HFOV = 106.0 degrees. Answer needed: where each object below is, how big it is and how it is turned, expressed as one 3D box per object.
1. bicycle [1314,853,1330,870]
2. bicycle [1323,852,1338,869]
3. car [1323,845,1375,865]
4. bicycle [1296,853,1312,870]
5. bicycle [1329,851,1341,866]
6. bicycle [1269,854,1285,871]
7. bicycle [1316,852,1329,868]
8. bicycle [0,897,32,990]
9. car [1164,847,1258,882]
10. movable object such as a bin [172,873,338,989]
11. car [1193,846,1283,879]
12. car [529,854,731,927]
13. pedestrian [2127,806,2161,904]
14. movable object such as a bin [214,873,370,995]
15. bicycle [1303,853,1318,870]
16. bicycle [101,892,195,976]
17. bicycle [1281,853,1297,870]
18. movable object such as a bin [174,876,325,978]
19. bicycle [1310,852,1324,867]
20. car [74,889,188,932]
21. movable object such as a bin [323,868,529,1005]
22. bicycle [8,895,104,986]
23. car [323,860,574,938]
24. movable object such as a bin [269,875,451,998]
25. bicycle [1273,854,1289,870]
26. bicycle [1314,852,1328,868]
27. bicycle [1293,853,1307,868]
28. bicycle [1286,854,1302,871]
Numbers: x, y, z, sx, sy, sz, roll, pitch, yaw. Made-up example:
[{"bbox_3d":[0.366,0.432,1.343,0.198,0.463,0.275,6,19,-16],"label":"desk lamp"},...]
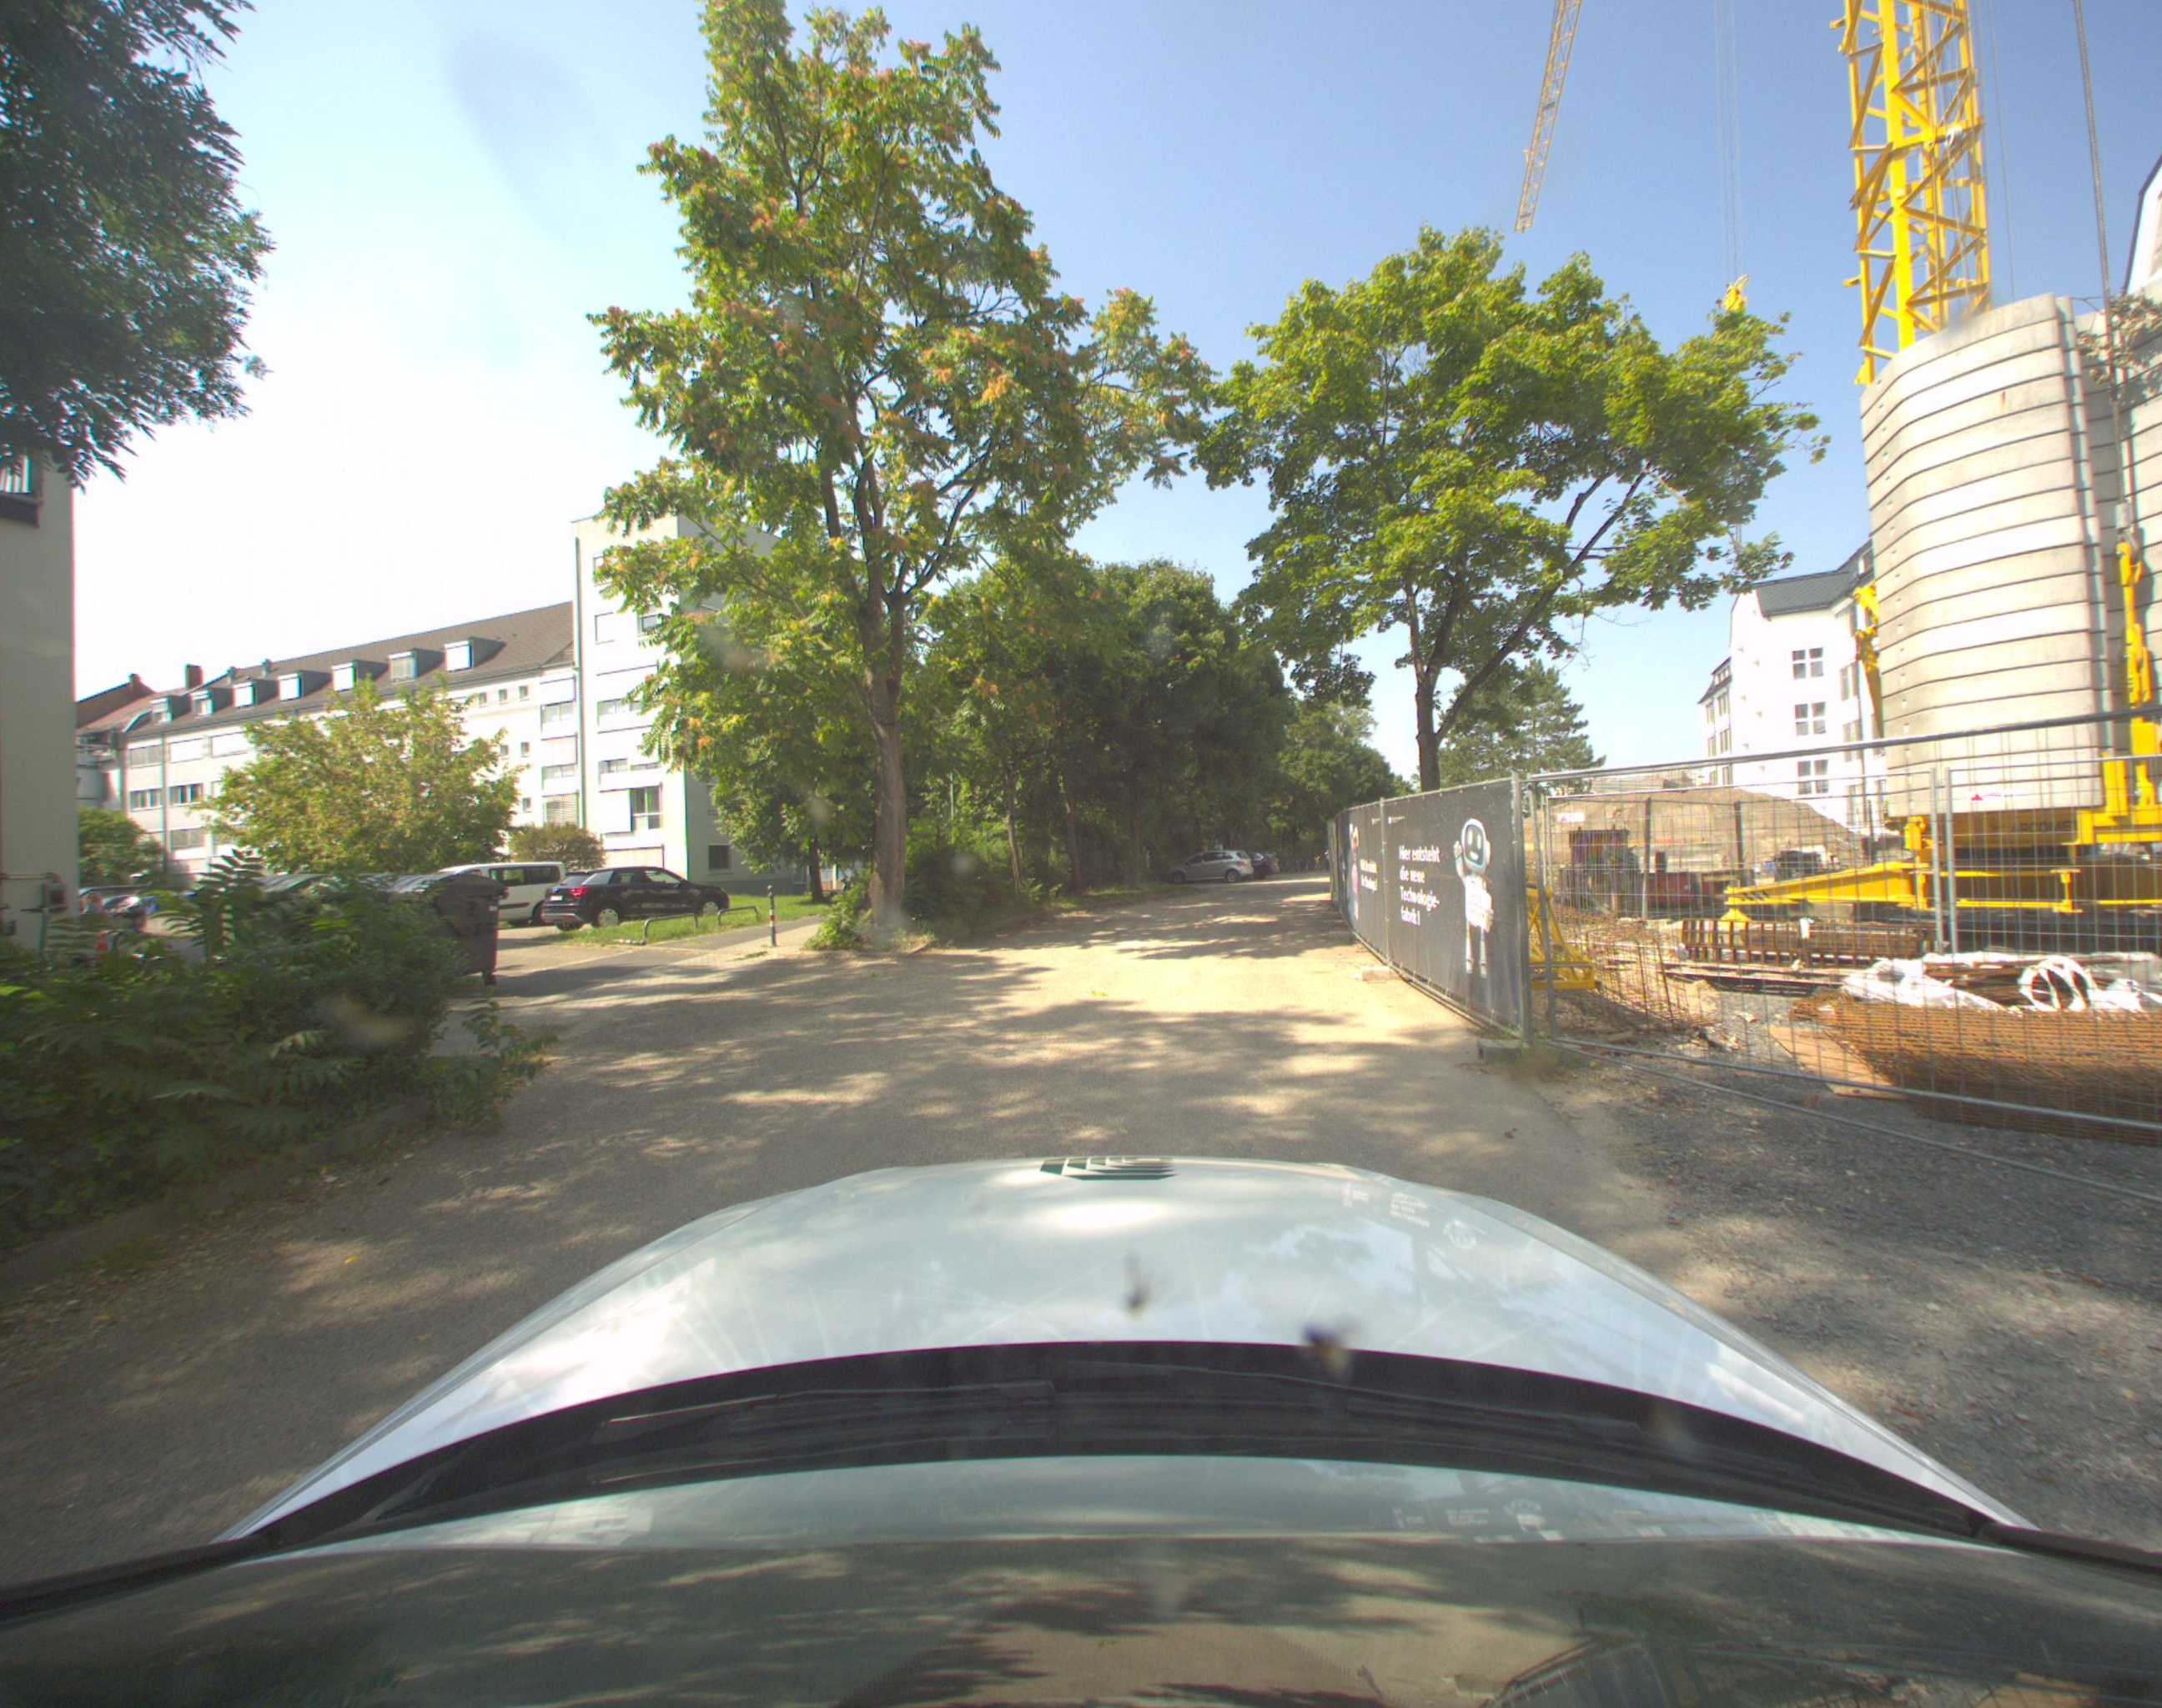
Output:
[{"bbox_3d":[15.721,0.478,53.162,0.494,1.107,1.811,-2,0,32],"label":"bicycle"},{"bbox_3d":[17.011,0.463,55.510,0.494,1.107,1.811,-2,0,32],"label":"bicycle"},{"bbox_3d":[22.761,0.087,69.110,3.950,1.510,1.811,-2,0,25],"label":"car"},{"bbox_3d":[14.856,0.502,54.215,0.494,1.107,1.811,-2,0,32],"label":"bicycle"},{"bbox_3d":[20.021,0.343,64.159,0.494,1.107,1.811,-2,0,32],"label":"bicycle"},{"bbox_3d":[13.298,0.567,55.124,0.494,1.107,1.811,-2,0,32],"label":"bicycle"},{"bbox_3d":[18.163,0.435,61.251,0.494,1.107,1.811,-2,0,32],"label":"bicycle"},{"bbox_3d":[-16.436,1.341,12.178,2.145,1.302,0.613,-3,-1,30],"label":"bicycle"},{"bbox_3d":[6.427,0.531,40.341,4.108,1.612,2.012,-2,0,28],"label":"car"},{"bbox_3d":[-11.630,1.040,11.504,1.192,1.495,1.256,-2,-1,21],"label":"movable object such as a bin"},{"bbox_3d":[8.178,0.457,42.403,4.108,1.612,2.012,-2,0,28],"label":"car"},{"bbox_3d":[-10.848,0.821,19.847,1.685,1.528,3.937,-2,0,33],"label":"car"},{"bbox_3d":[17.063,0.010,12.850,0.517,1.528,0.498,-3,-1,35],"label":"pedestrian"},{"bbox_3d":[-10.419,1.020,10.785,1.088,1.482,1.107,-2,-1,21],"label":"movable object such as a bin"},{"bbox_3d":[15.958,0.499,56.635,0.494,1.107,1.811,-2,0,32],"label":"bicycle"},{"bbox_3d":[-15.719,1.328,13.712,2.145,1.302,0.613,-3,-1,30],"label":"bicycle"},{"bbox_3d":[14.530,0.531,56.907,0.494,1.107,1.811,-2,0,32],"label":"bicycle"},{"bbox_3d":[-12.932,1.096,12.701,1.192,1.444,1.256,-2,-1,21],"label":"movable object such as a bin"},{"bbox_3d":[18.666,0.412,64.394,0.494,1.107,1.811,-2,0,32],"label":"bicycle"},{"bbox_3d":[-38.901,2.317,33.363,3.952,1.510,1.810,-3,-1,21],"label":"car"},{"bbox_3d":[-7.807,0.941,9.789,1.359,1.493,1.340,-1,-1,12],"label":"movable object such as a bin"},{"bbox_3d":[-16.104,1.333,12.781,2.145,1.302,0.613,-3,-1,30],"label":"bicycle"},{"bbox_3d":[-17.981,1.207,23.466,2.470,1.881,5.116,-2,0,29],"label":"car"},{"bbox_3d":[-9.227,1.009,10.469,1.316,1.432,1.256,-2,-1,20],"label":"movable object such as a bin"},{"bbox_3d":[14.045,0.558,57.136,0.494,1.107,1.811,-2,0,32],"label":"bicycle"},{"bbox_3d":[17.451,0.447,59.248,0.494,1.107,1.811,-2,0,32],"label":"bicycle"},{"bbox_3d":[16.254,0.477,60.365,0.494,1.107,1.811,-2,0,32],"label":"bicycle"},{"bbox_3d":[14.365,0.545,54.952,0.494,1.107,1.811,-2,0,32],"label":"bicycle"}]
